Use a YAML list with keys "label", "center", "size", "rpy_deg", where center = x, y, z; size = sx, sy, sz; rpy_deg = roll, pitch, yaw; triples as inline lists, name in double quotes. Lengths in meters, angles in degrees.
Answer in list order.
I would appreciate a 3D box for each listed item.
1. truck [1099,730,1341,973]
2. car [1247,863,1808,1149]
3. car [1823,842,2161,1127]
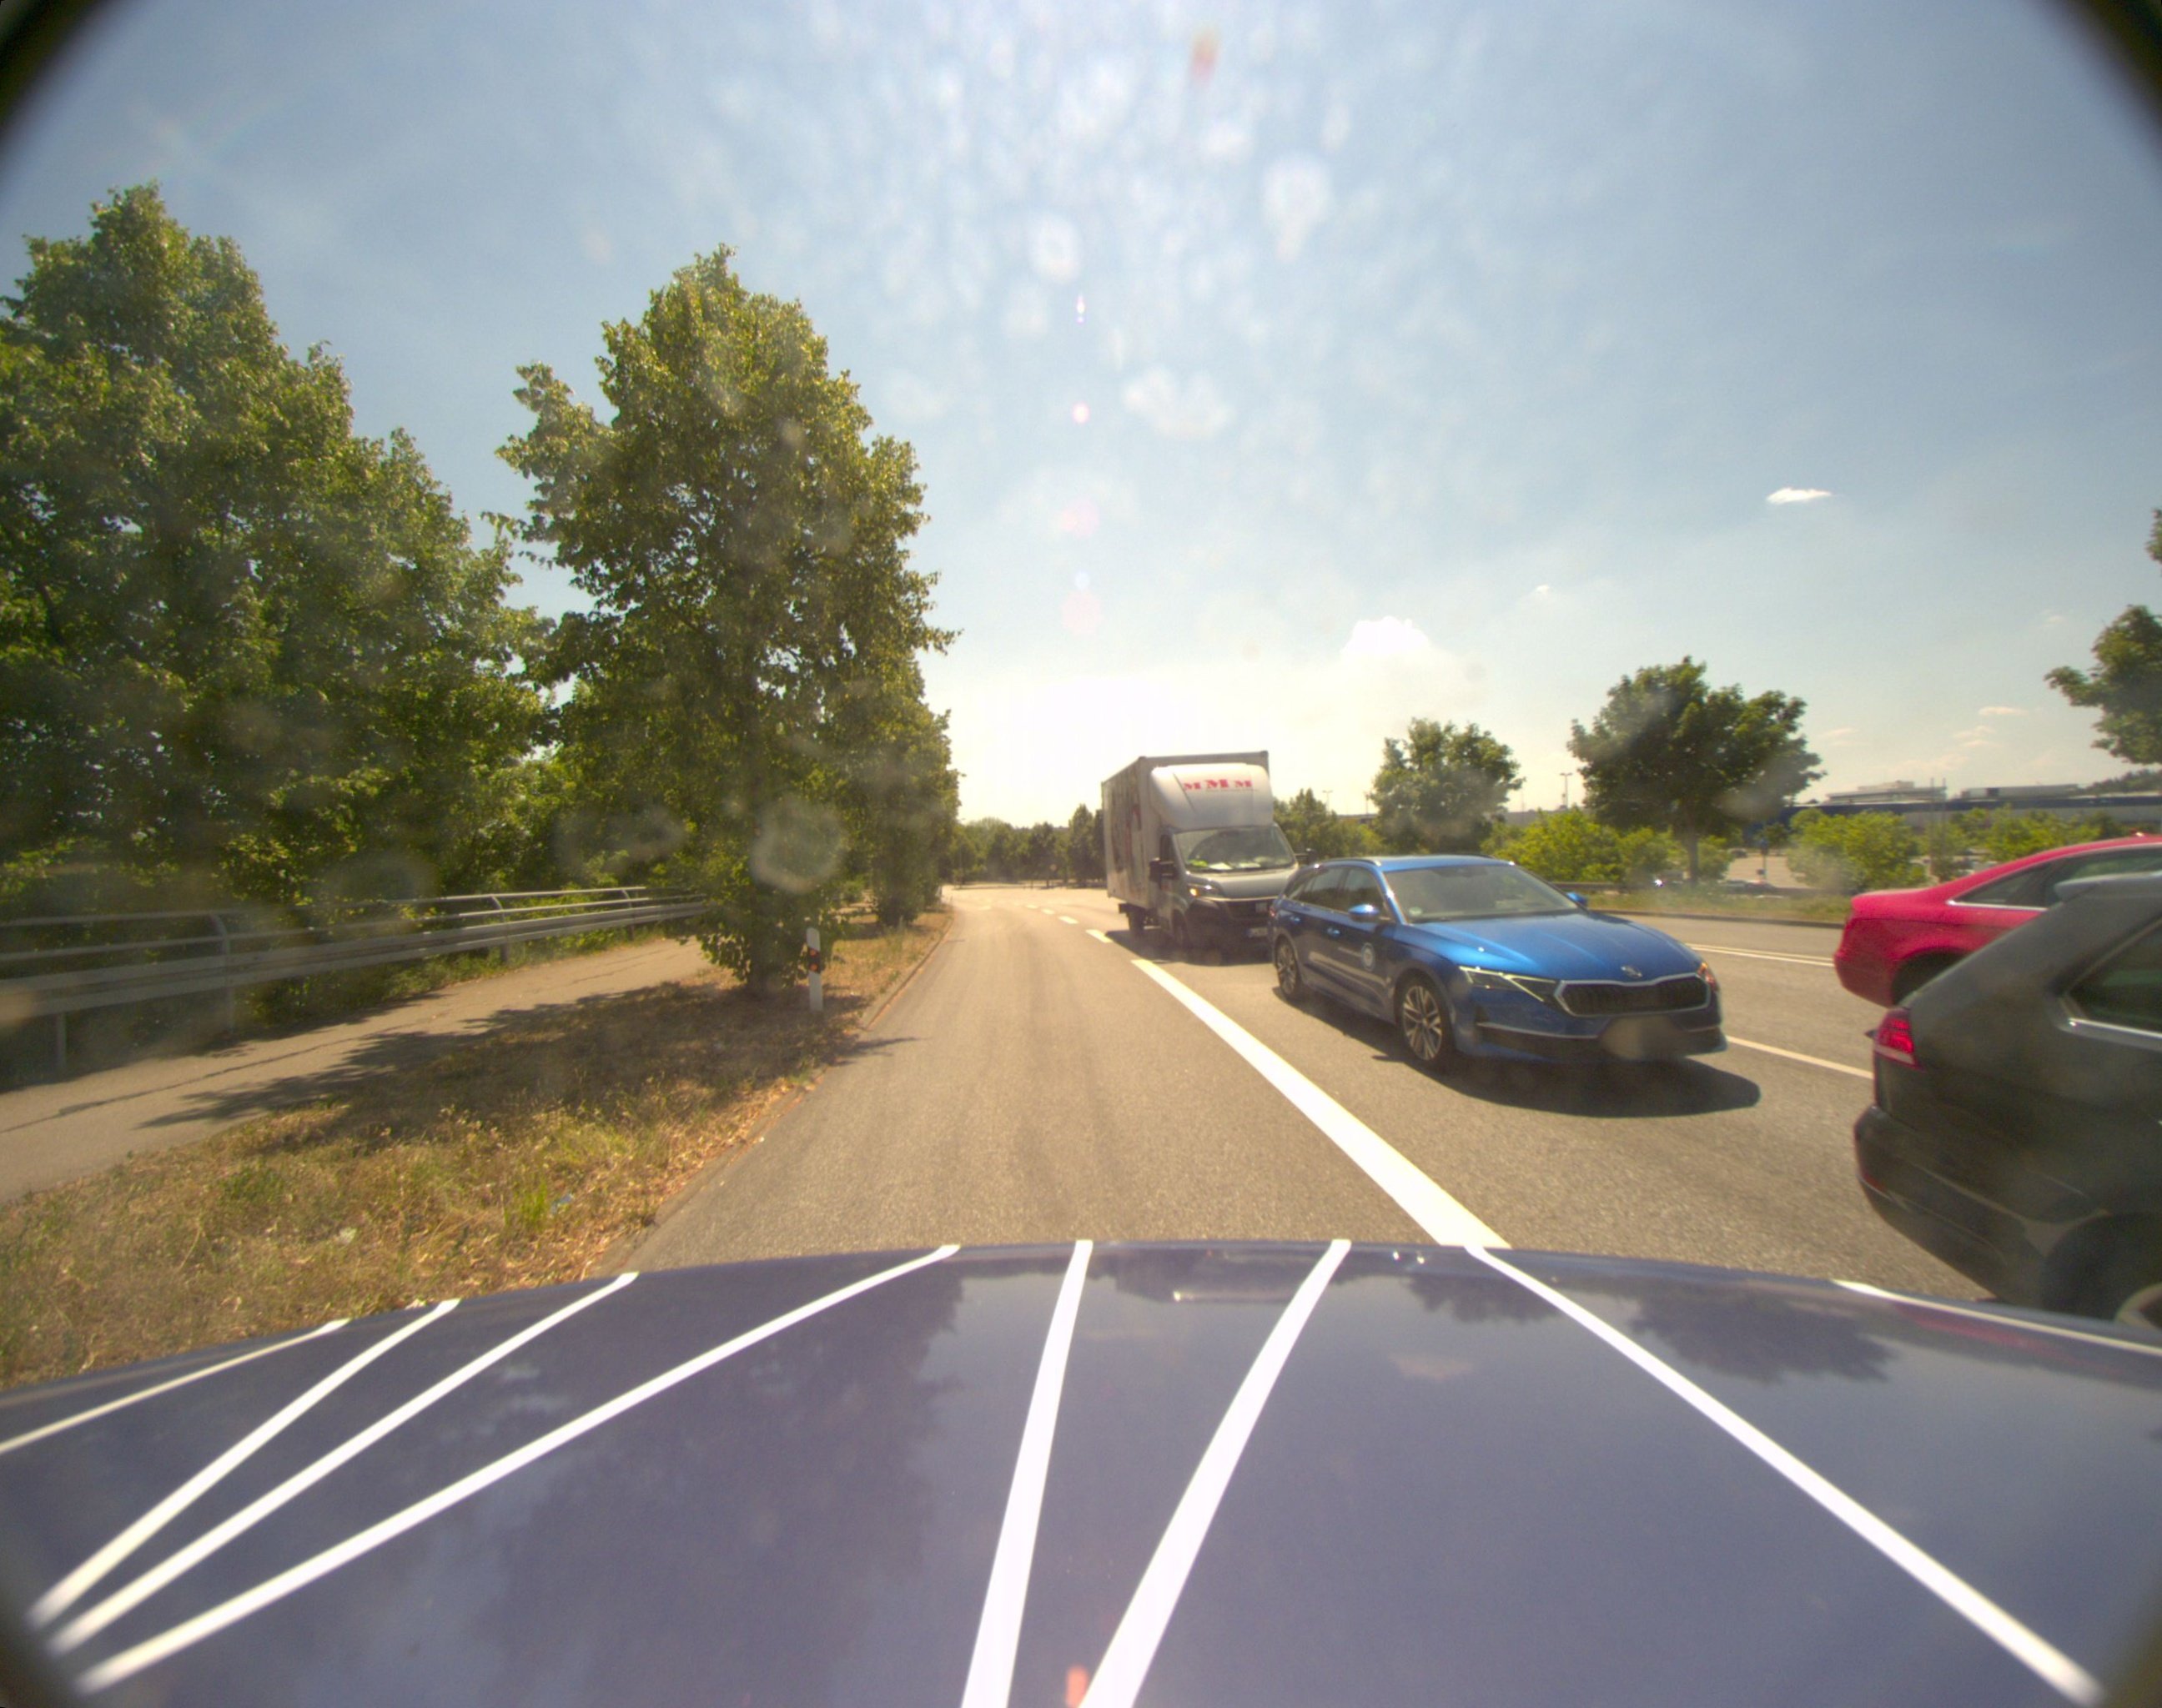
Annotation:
- label: "truck"
  center: [2.053, 0.013, 14.257]
  size: [2.415, 3.327, 7.200]
  rpy_deg: [-2, -1, -6]
- label: "car"
  center: [2.966, 0.845, 6.392]
  size: [1.713, 1.454, 4.487]
  rpy_deg: [-3, 0, -6]
- label: "car"
  center: [6.350, 0.672, 3.373]
  size: [1.665, 1.380, 4.448]
  rpy_deg: [-3, 1, -1]
